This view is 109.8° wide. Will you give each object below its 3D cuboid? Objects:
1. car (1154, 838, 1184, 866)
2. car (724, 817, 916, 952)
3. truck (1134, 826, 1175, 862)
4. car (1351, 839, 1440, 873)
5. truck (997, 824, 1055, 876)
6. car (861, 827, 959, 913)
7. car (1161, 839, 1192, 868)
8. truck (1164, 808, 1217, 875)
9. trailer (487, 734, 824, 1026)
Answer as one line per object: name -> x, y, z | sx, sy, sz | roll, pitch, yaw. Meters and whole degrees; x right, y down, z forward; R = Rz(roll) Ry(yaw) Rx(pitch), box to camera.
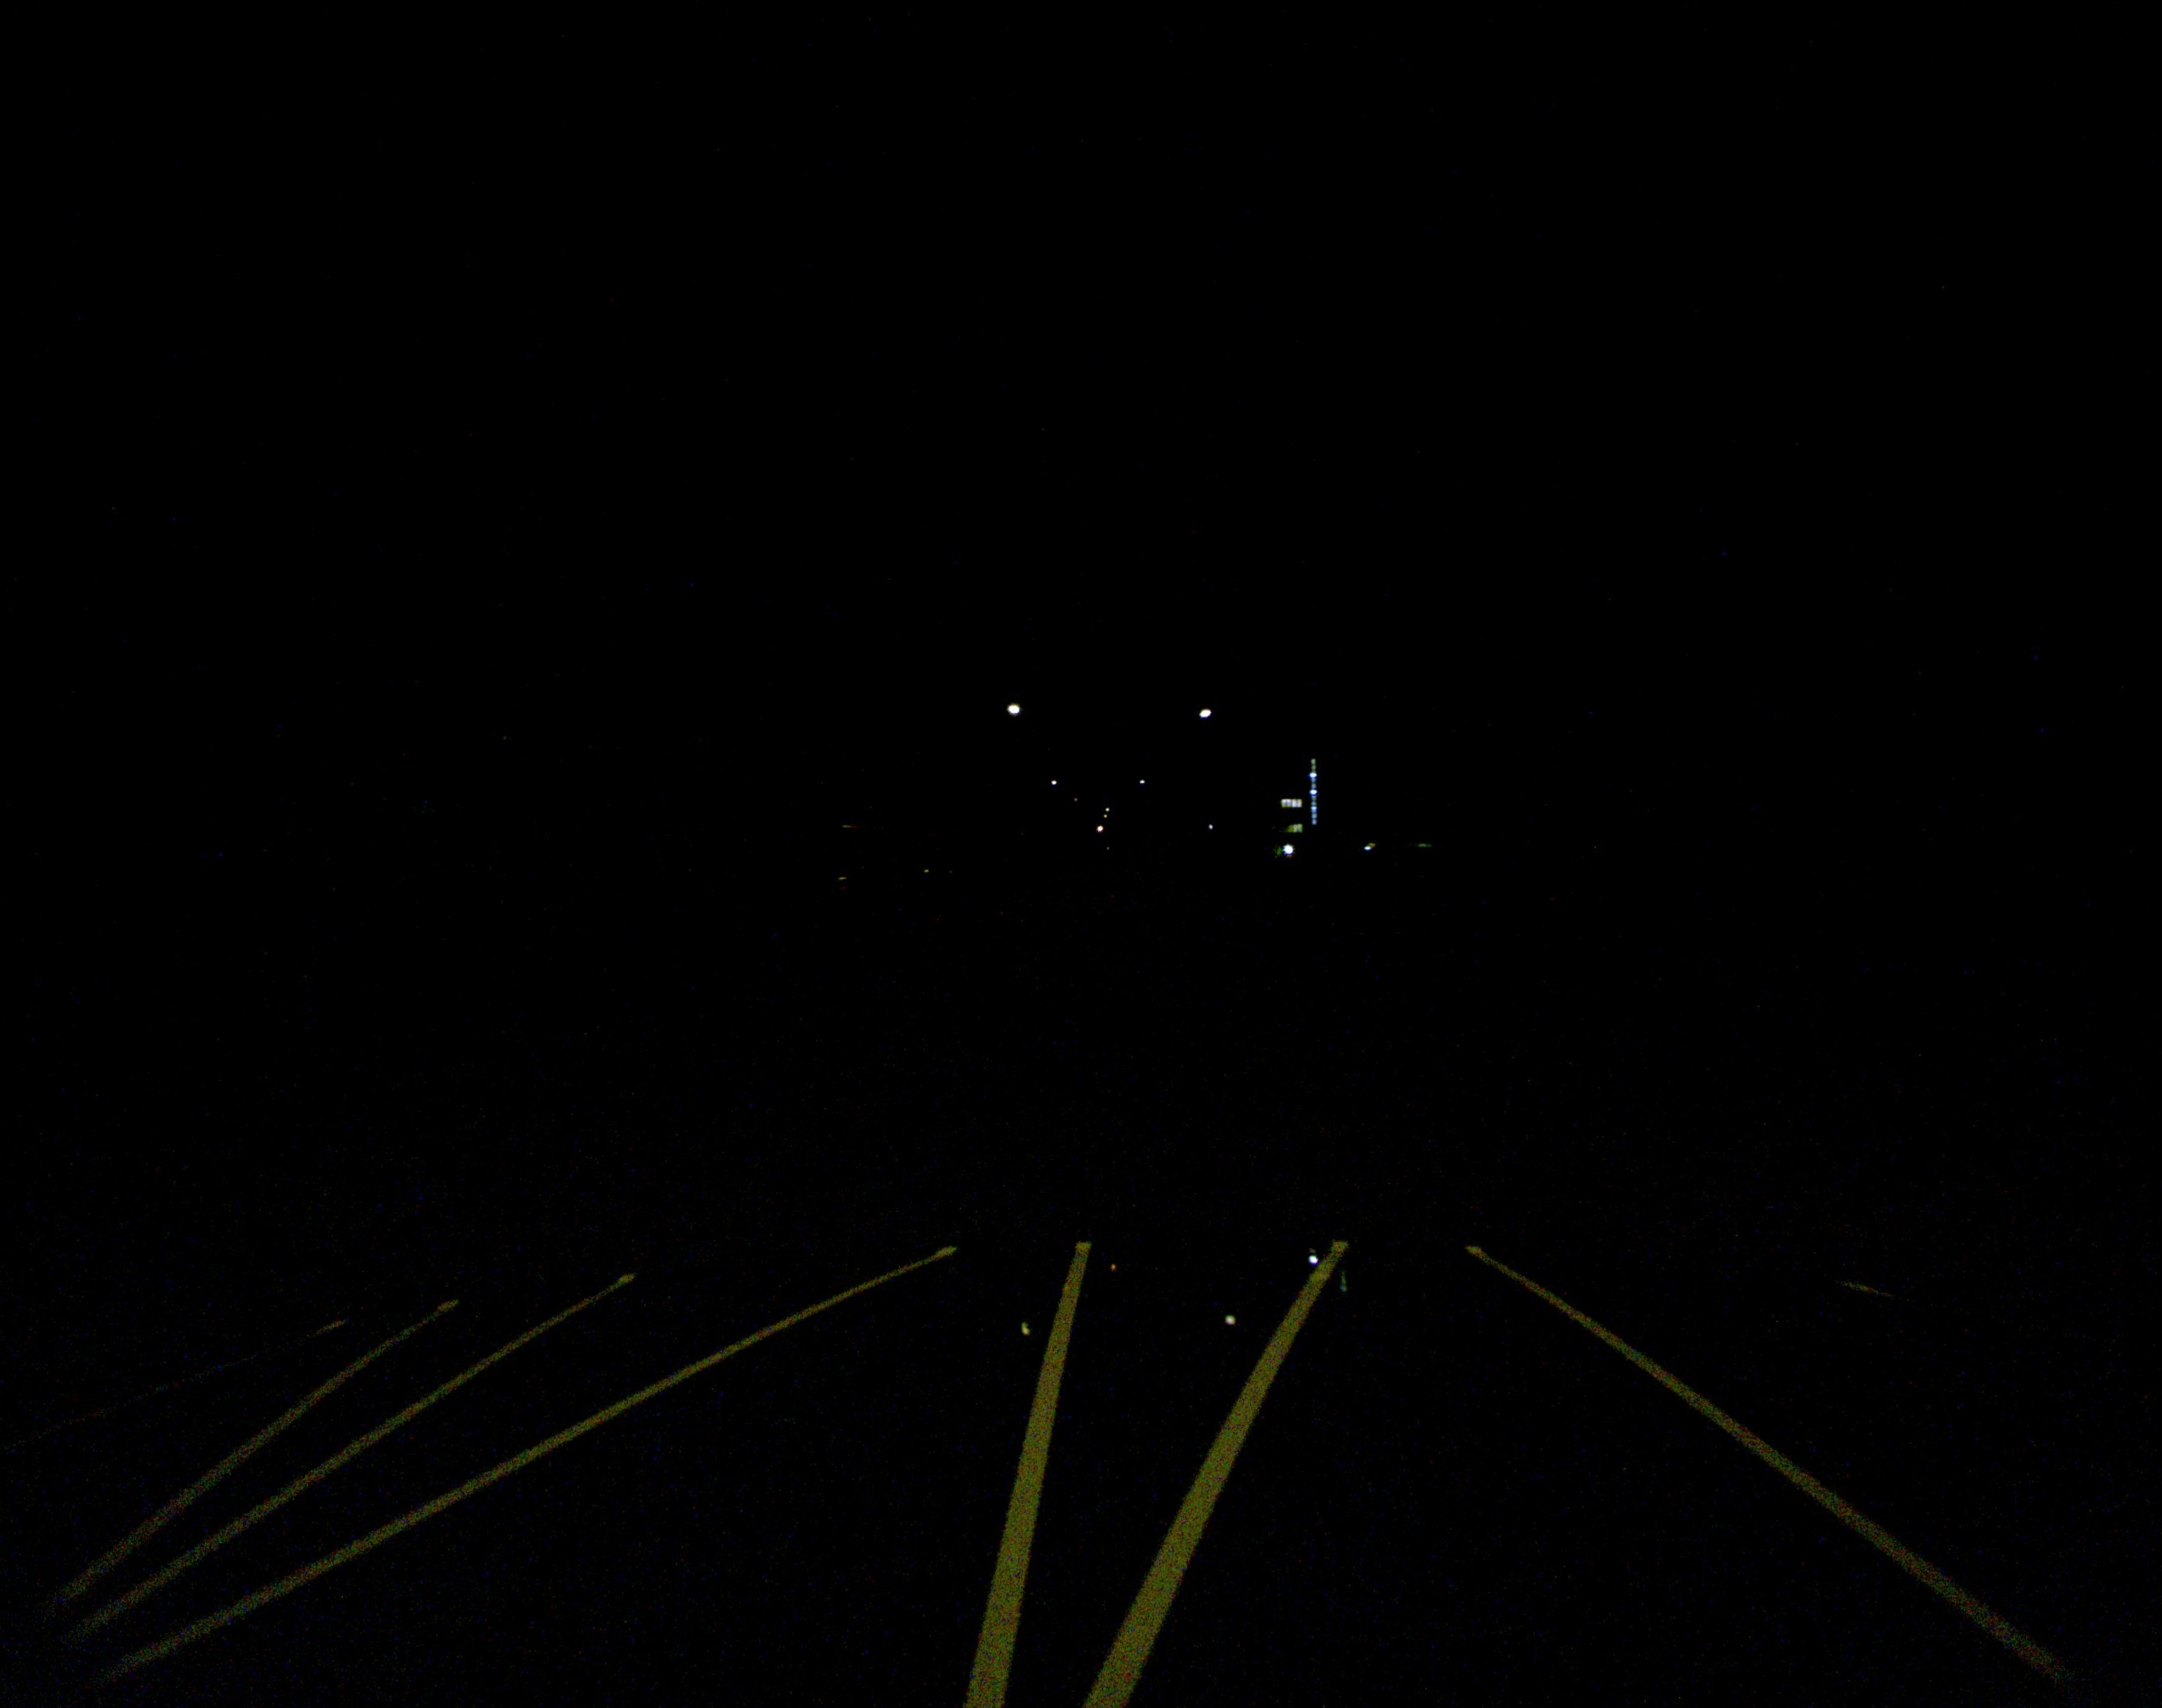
car -> 8.289, -0.173, 72.001 | 1.999, 2.429, 5.744 | -2, 0, -1
car -> -5.721, 0.582, 17.879 | 1.945, 2.533, 6.646 | -2, 0, 2
truck -> 7.902, -1.004, 83.022 | 2.829, 3.610, 10.398 | -2, 0, -3
car -> 17.129, 0.113, 41.456 | 3.997, 1.455, 1.806 | -5, 0, -2
truck -> -4.341, -0.345, 63.241 | 2.515, 3.815, 12.662 | -2, 0, 6
car -> -5.640, 0.493, 25.990 | 1.999, 2.533, 6.024 | -2, 0, -1
car -> 7.973, -0.062, 63.961 | 2.145, 2.299, 4.468 | -2, 0, 2
truck -> 7.691, -0.904, 54.964 | 2.644, 4.290, 12.824 | 1, 1, 3
trailer -> -5.666, 0.297, 11.011 | 2.404, 3.306, 4.361 | -2, 0, -2
